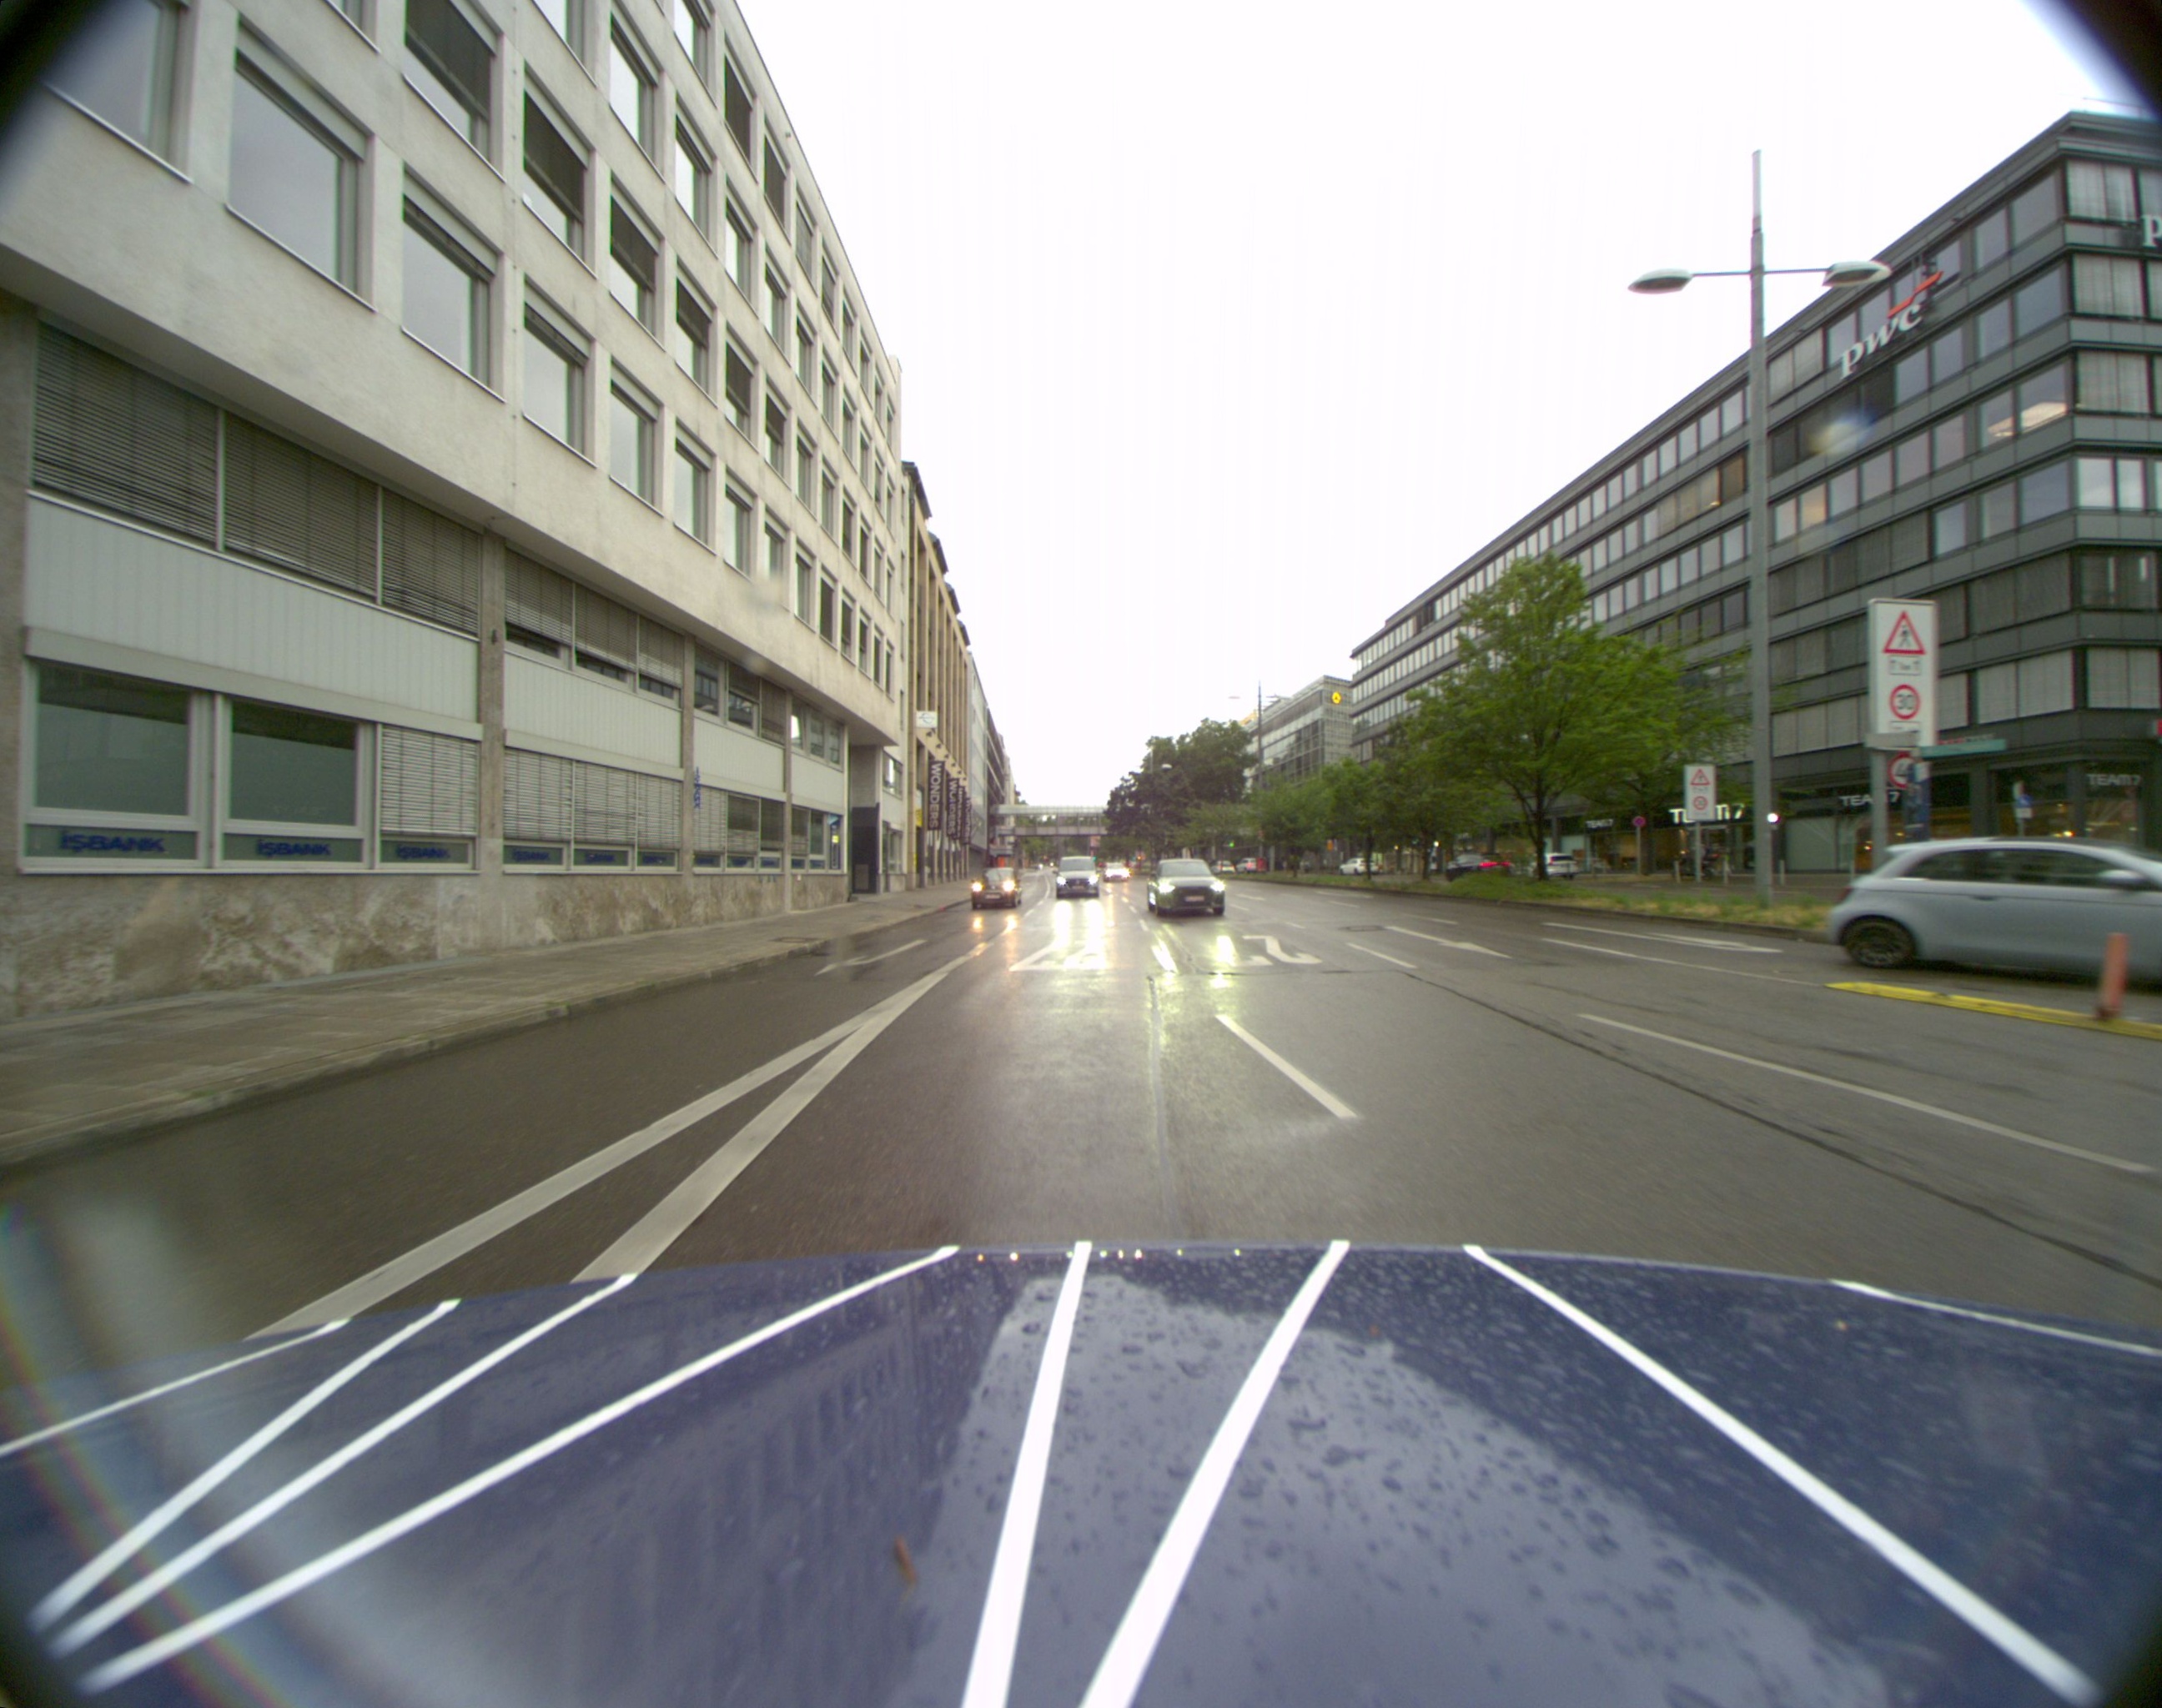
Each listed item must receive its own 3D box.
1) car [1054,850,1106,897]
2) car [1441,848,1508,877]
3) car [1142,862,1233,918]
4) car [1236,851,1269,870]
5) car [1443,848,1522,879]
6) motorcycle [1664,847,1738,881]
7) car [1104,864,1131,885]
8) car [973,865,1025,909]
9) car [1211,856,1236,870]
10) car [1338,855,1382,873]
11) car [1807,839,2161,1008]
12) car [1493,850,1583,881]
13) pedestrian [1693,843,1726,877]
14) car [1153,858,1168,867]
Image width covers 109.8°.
[{"bbox_3d":[-0.142,0.861,35.483,2.163,2.014,5.040,-1,0,-3],"label":"car"},{"bbox_3d":[24.562,0.533,47.614,1.813,1.651,4.309,-2,0,-1],"label":"car"},{"bbox_3d":[2.956,0.958,22.054,1.941,1.426,4.287,-1,0,-1],"label":"car"},{"bbox_3d":[16.500,0.636,73.273,1.742,1.717,4.492,-2,0,-5],"label":"car"},{"bbox_3d":[21.618,0.508,41.136,1.998,1.535,4.483,-1,0,1],"label":"car"},{"bbox_3d":[27.603,0.437,33.875,0.861,1.386,2.364,-5,2,-29],"label":"motorcycle"},{"bbox_3d":[2.810,1.568,58.948,1.853,1.434,3.870,-1,0,0],"label":"car"},{"bbox_3d":[-3.024,1.184,28.418,1.667,1.464,3.483,-1,0,-2],"label":"car"},{"bbox_3d":[15.451,0.997,82.370,1.687,1.423,4.082,-1,0,-4],"label":"car"},{"bbox_3d":[23.486,0.832,64.121,1.814,1.436,4.308,-2,0,-6],"label":"car"},{"bbox_3d":[10.535,0.640,8.050,1.791,1.564,3.684,-1,0,-22],"label":"car"},{"bbox_3d":[24.788,0.595,41.475,1.813,1.476,4.772,-4,0,-2],"label":"car"},{"bbox_3d":[30.957,0.285,37.432,0.786,1.628,0.965,-1,0,-3],"label":"pedestrian"},{"bbox_3d":[13.793,1.503,132.276,1.814,1.467,4.299,-1,0,-5],"label":"car"}]
